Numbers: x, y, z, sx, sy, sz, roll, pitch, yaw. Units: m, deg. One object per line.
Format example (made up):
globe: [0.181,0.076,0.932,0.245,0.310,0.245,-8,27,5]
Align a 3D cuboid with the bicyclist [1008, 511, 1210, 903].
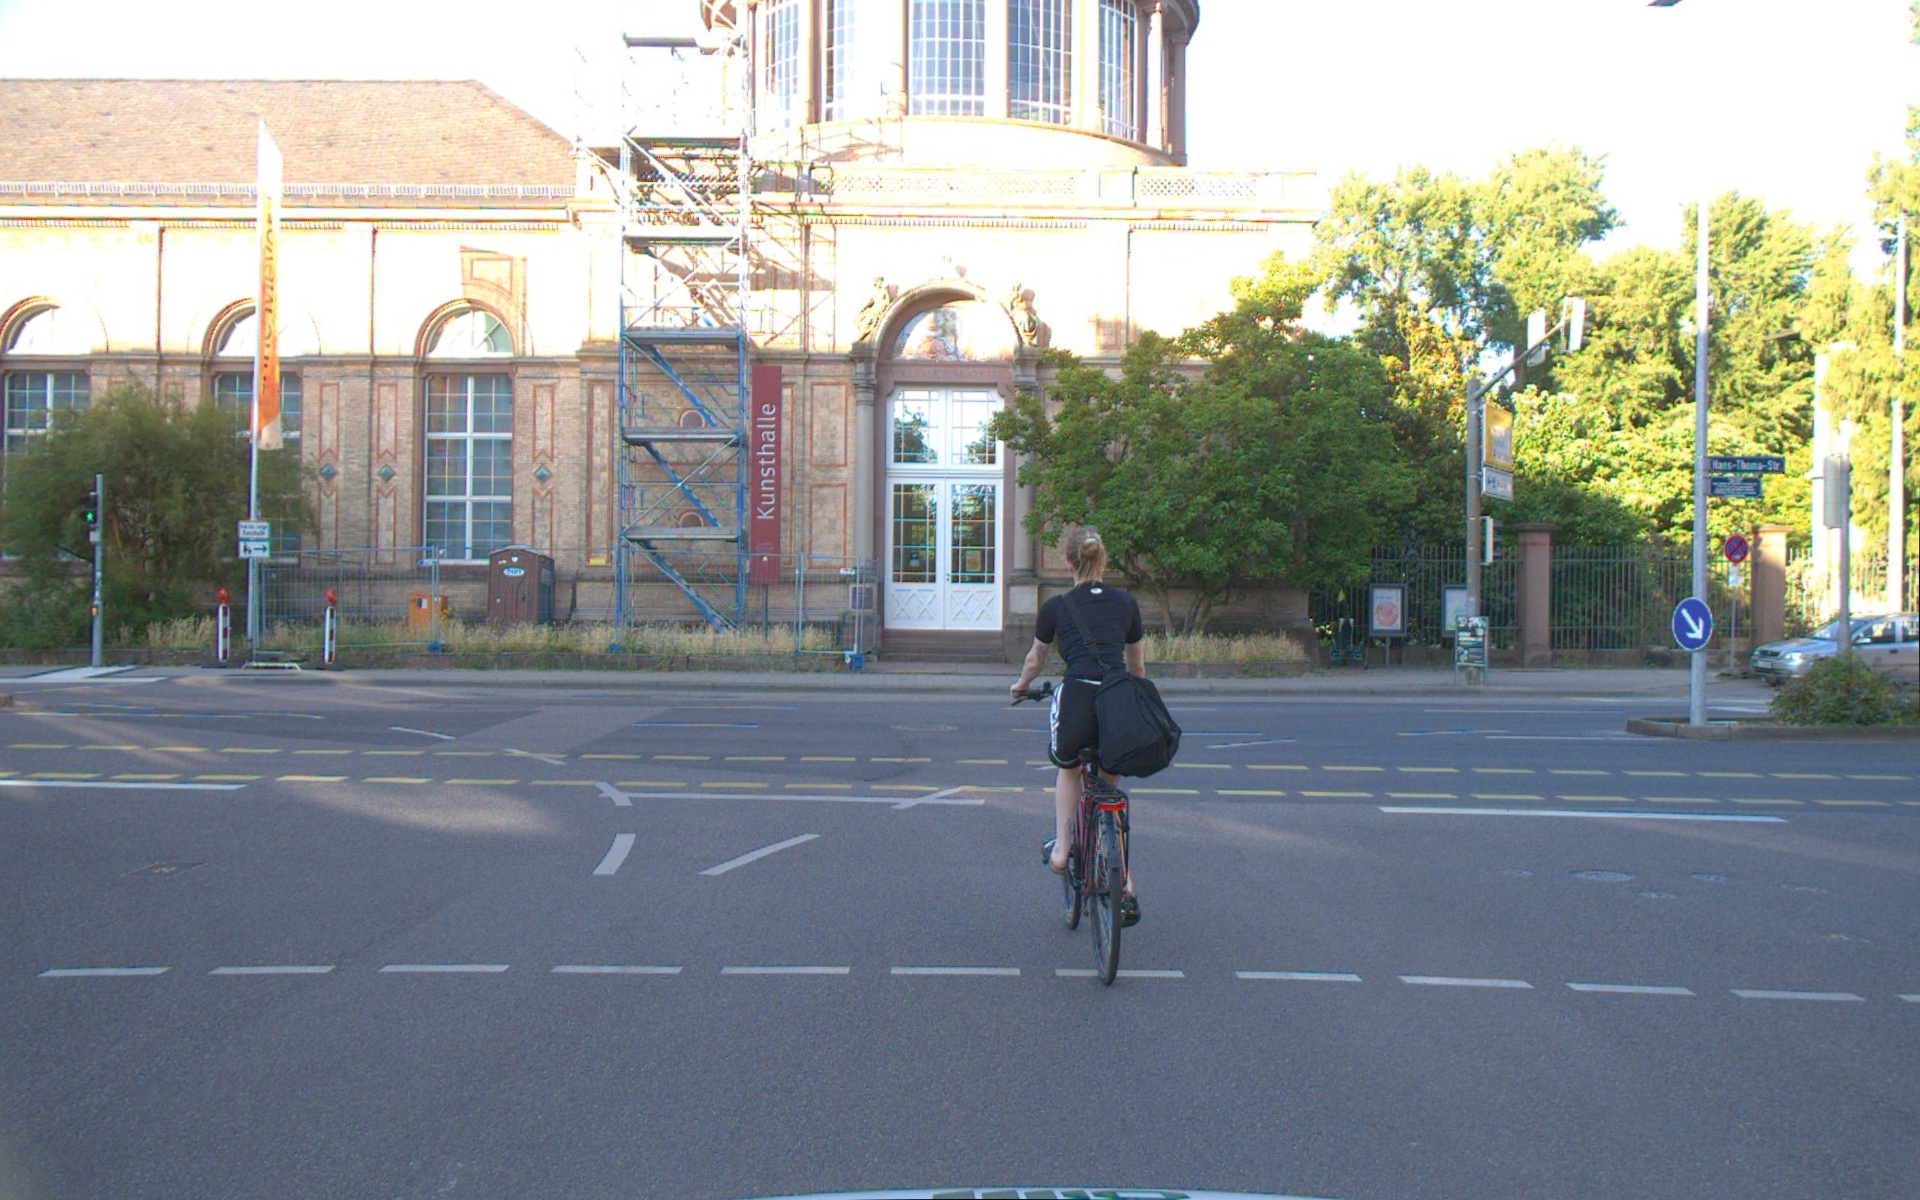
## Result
bicyclist: [0.601,0.430,6.918,0.702,1.529,0.850,1,-2,-5]

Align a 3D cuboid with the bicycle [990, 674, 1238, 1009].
bicycle: [0.585,0.922,7.064,0.697,1.176,2.066,1,-2,-5]

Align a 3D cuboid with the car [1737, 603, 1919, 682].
car: [17.651,0.820,32.436,4.104,1.470,1.713,0,0,-6]
